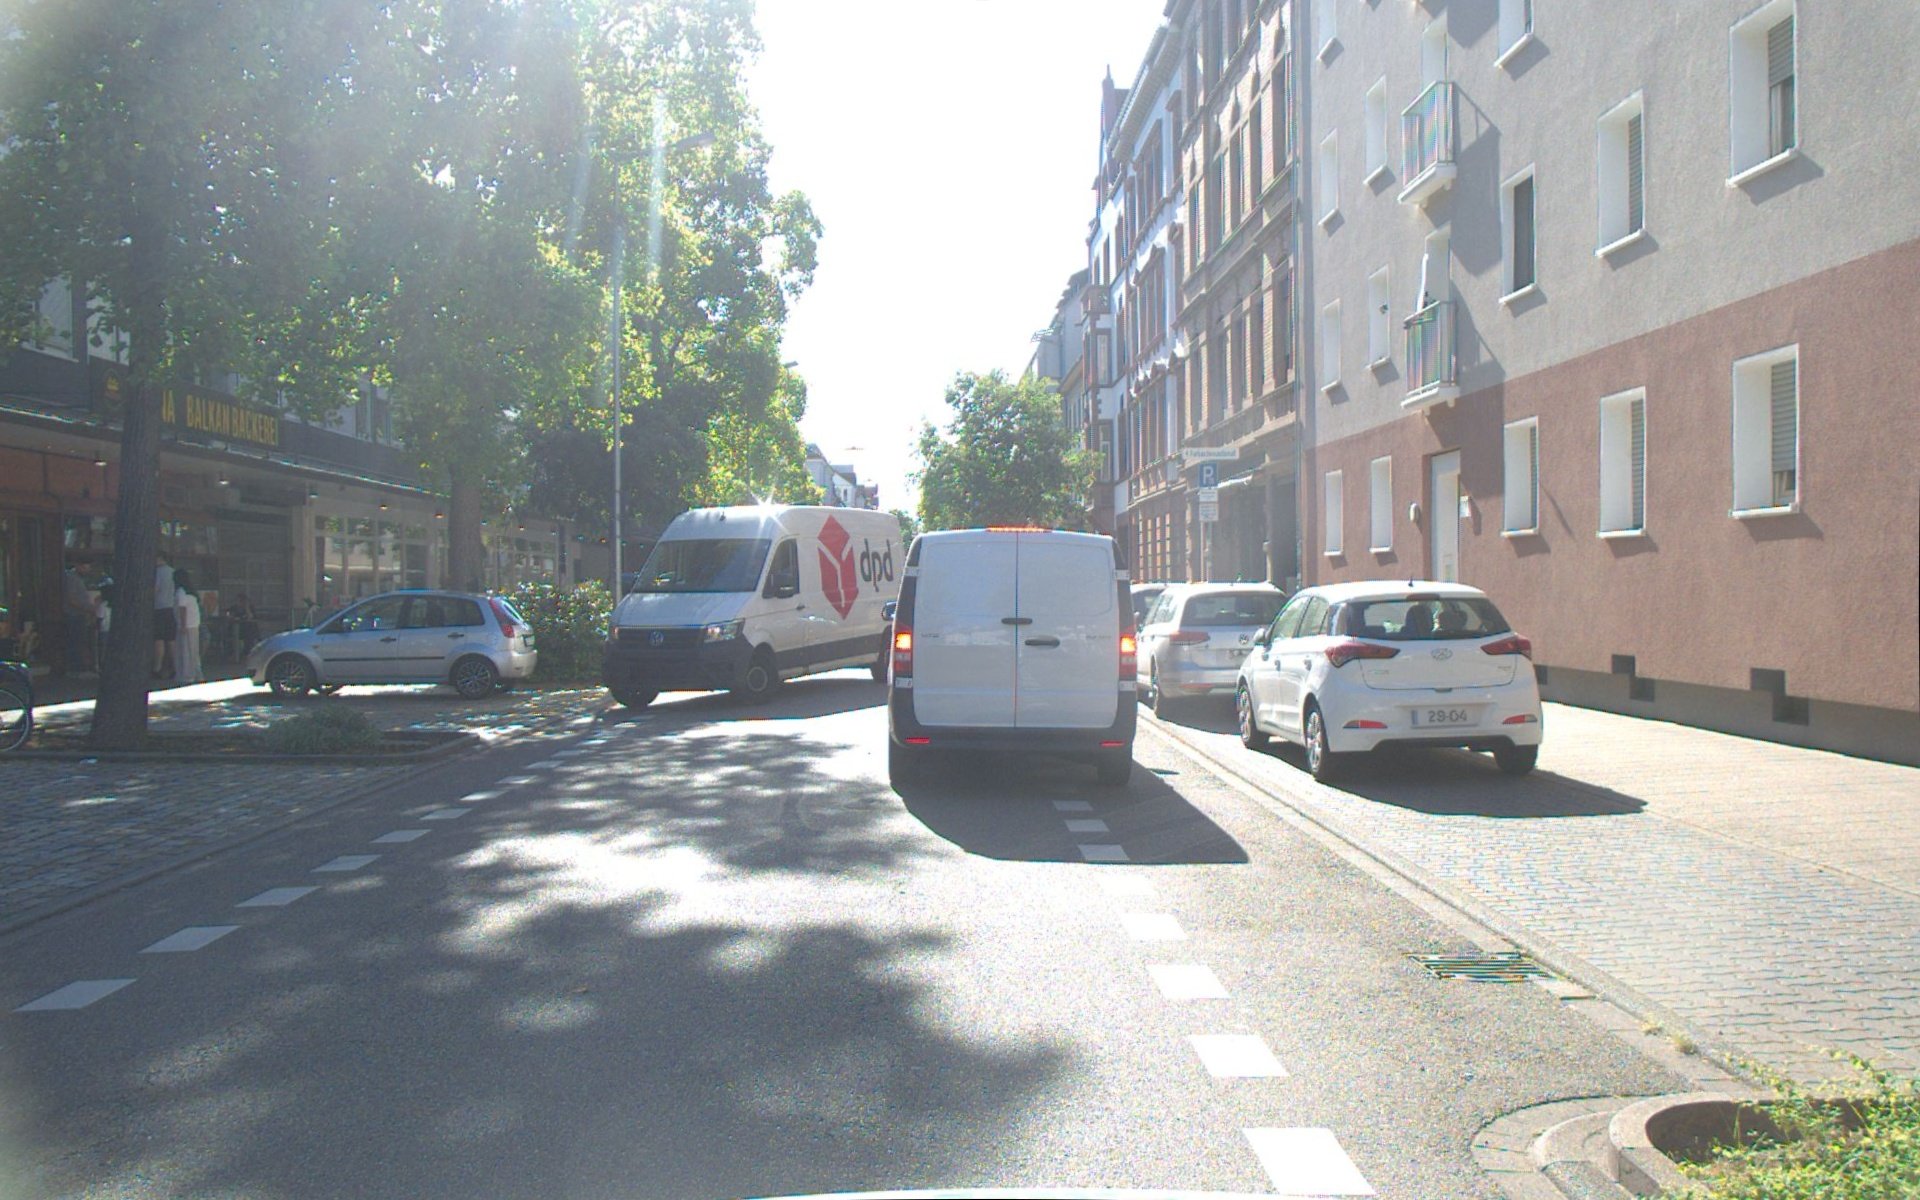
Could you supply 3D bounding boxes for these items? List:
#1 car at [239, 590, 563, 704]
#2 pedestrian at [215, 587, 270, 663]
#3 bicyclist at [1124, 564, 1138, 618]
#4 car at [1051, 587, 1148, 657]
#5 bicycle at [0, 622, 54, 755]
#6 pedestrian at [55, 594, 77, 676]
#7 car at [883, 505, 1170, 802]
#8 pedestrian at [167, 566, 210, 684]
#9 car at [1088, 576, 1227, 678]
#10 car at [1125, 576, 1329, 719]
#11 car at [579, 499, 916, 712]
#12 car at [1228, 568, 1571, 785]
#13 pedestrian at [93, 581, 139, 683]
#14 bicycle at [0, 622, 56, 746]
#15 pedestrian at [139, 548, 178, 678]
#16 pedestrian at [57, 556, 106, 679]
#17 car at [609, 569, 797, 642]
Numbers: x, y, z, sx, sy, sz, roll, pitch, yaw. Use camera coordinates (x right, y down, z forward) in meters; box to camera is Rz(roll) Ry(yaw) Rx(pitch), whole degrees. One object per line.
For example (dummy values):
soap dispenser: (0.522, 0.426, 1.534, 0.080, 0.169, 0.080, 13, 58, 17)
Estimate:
car: (-7.734, 0.626, 23.180, 3.907, 1.482, 1.859, -1, 0, -3)
pedestrian: (-13.062, 0.446, 30.139, 0.708, 1.354, 0.703, 1, 0, -5)
bicyclist: (4.796, -0.250, 46.471, 0.353, 1.503, 0.531, 0, 0, 2)
car: (3.116, 0.457, 37.561, 1.703, 1.477, 3.998, -1, 0, -2)
bicycle: (-9.134, 0.765, 14.805, 1.683, 1.136, 0.623, 1, 0, 1)
pedestrian: (-13.859, 0.542, 25.640, 0.208, 1.266, 0.215, 1, 0, 0)
car: (0.330, 0.330, 13.379, 1.882, 1.947, 4.885, 1, 1, -3)
pedestrian: (-11.508, 0.370, 24.680, 0.382, 1.735, 0.502, 1, 0, 0)
car: (3.087, 0.392, 26.453, 1.674, 1.506, 3.709, -1, 0, -2)
car: (3.090, 0.494, 20.010, 1.749, 1.485, 4.517, -2, 0, 1)
car: (-2.663, 0.024, 22.968, 1.952, 2.517, 6.607, -1, 1, 18)
car: (3.522, 0.540, 13.971, 1.697, 1.512, 3.793, -2, 1, -3)
pedestrian: (-12.549, 0.472, 24.597, 0.459, 1.499, 0.420, -1, 0, -4)
bicycle: (-9.706, 0.774, 15.765, 1.829, 1.126, 0.587, 1, 0, 1)
pedestrian: (-12.193, 0.193, 25.164, 0.382, 1.968, 0.361, 1, 0, -1)
pedestrian: (-13.205, 0.258, 24.867, 0.475, 1.813, 0.427, -1, 0, -4)
car: (-7.417, 0.159, 48.163, 5.186, 2.008, 2.015, 1, 0, -2)
